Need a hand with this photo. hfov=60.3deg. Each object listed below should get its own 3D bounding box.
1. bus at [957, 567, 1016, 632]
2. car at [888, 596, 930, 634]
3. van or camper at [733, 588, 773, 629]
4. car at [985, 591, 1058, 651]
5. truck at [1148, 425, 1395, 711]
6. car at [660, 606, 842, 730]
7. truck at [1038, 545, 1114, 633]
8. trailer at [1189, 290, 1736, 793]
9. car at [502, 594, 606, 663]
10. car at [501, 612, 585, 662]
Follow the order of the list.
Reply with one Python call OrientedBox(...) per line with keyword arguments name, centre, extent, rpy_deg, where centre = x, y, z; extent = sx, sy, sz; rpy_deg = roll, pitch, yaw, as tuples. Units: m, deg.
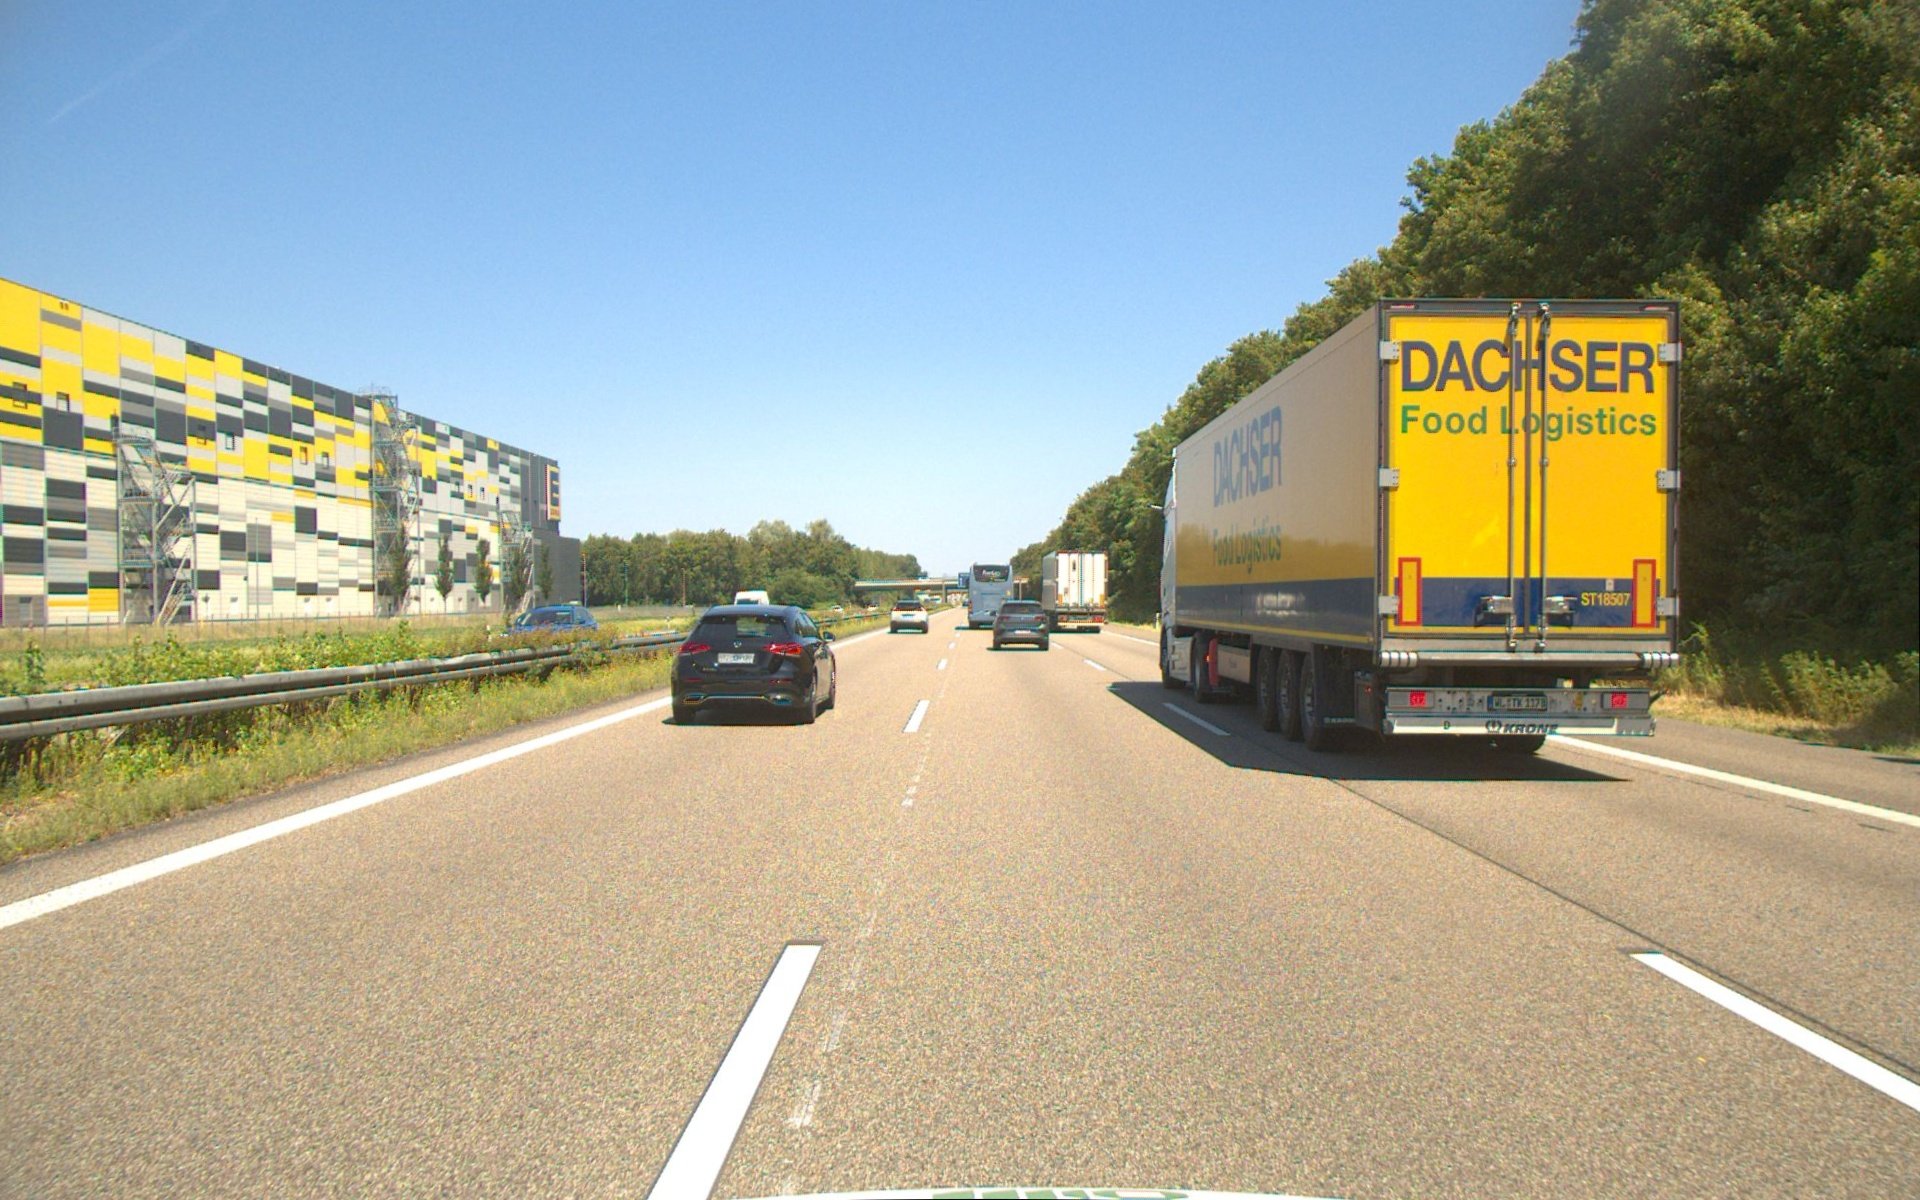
OrientedBox(name="bus", centre=(1.441, -0.022, 93.189), extent=(3.000, 3.385, 8.272), rpy_deg=(-1, 0, -1))
OrientedBox(name="car", centre=(-2.427, 0.714, 79.455), extent=(1.953, 1.758, 4.130), rpy_deg=(0, 0, 0))
OrientedBox(name="van or camper", centre=(-15.106, 0.615, 120.988), extent=(2.014, 2.828, 6.965), rpy_deg=(-1, 0, 0))
OrientedBox(name="car", centre=(1.925, 0.646, 53.574), extent=(2.171, 1.821, 5.393), rpy_deg=(-1, 0, 0))
OrientedBox(name="truck", centre=(4.842, -0.461, 27.033), extent=(2.755, 4.076, 6.644), rpy_deg=(0, 0, 0))
OrientedBox(name="car", centre=(-2.595, 0.802, 21.389), extent=(1.755, 1.436, 4.053), rpy_deg=(0, 0, 1))
OrientedBox(name="truck", centre=(5.817, -0.528, 84.782), extent=(3.352, 4.198, 9.565), rpy_deg=(-1, 0, 1))
OrientedBox(name="trailer", centre=(4.831, -0.482, 19.072), extent=(2.776, 4.023, 11.683), rpy_deg=(0, 0, 0))
OrientedBox(name="car", centre=(-11.459, 0.781, 46.963), extent=(1.872, 1.820, 4.481), rpy_deg=(-1, 0, -1))
OrientedBox(name="car", centre=(-15.225, 1.319, 60.628), extent=(1.814, 1.640, 4.834), rpy_deg=(-3, 0, -1))
